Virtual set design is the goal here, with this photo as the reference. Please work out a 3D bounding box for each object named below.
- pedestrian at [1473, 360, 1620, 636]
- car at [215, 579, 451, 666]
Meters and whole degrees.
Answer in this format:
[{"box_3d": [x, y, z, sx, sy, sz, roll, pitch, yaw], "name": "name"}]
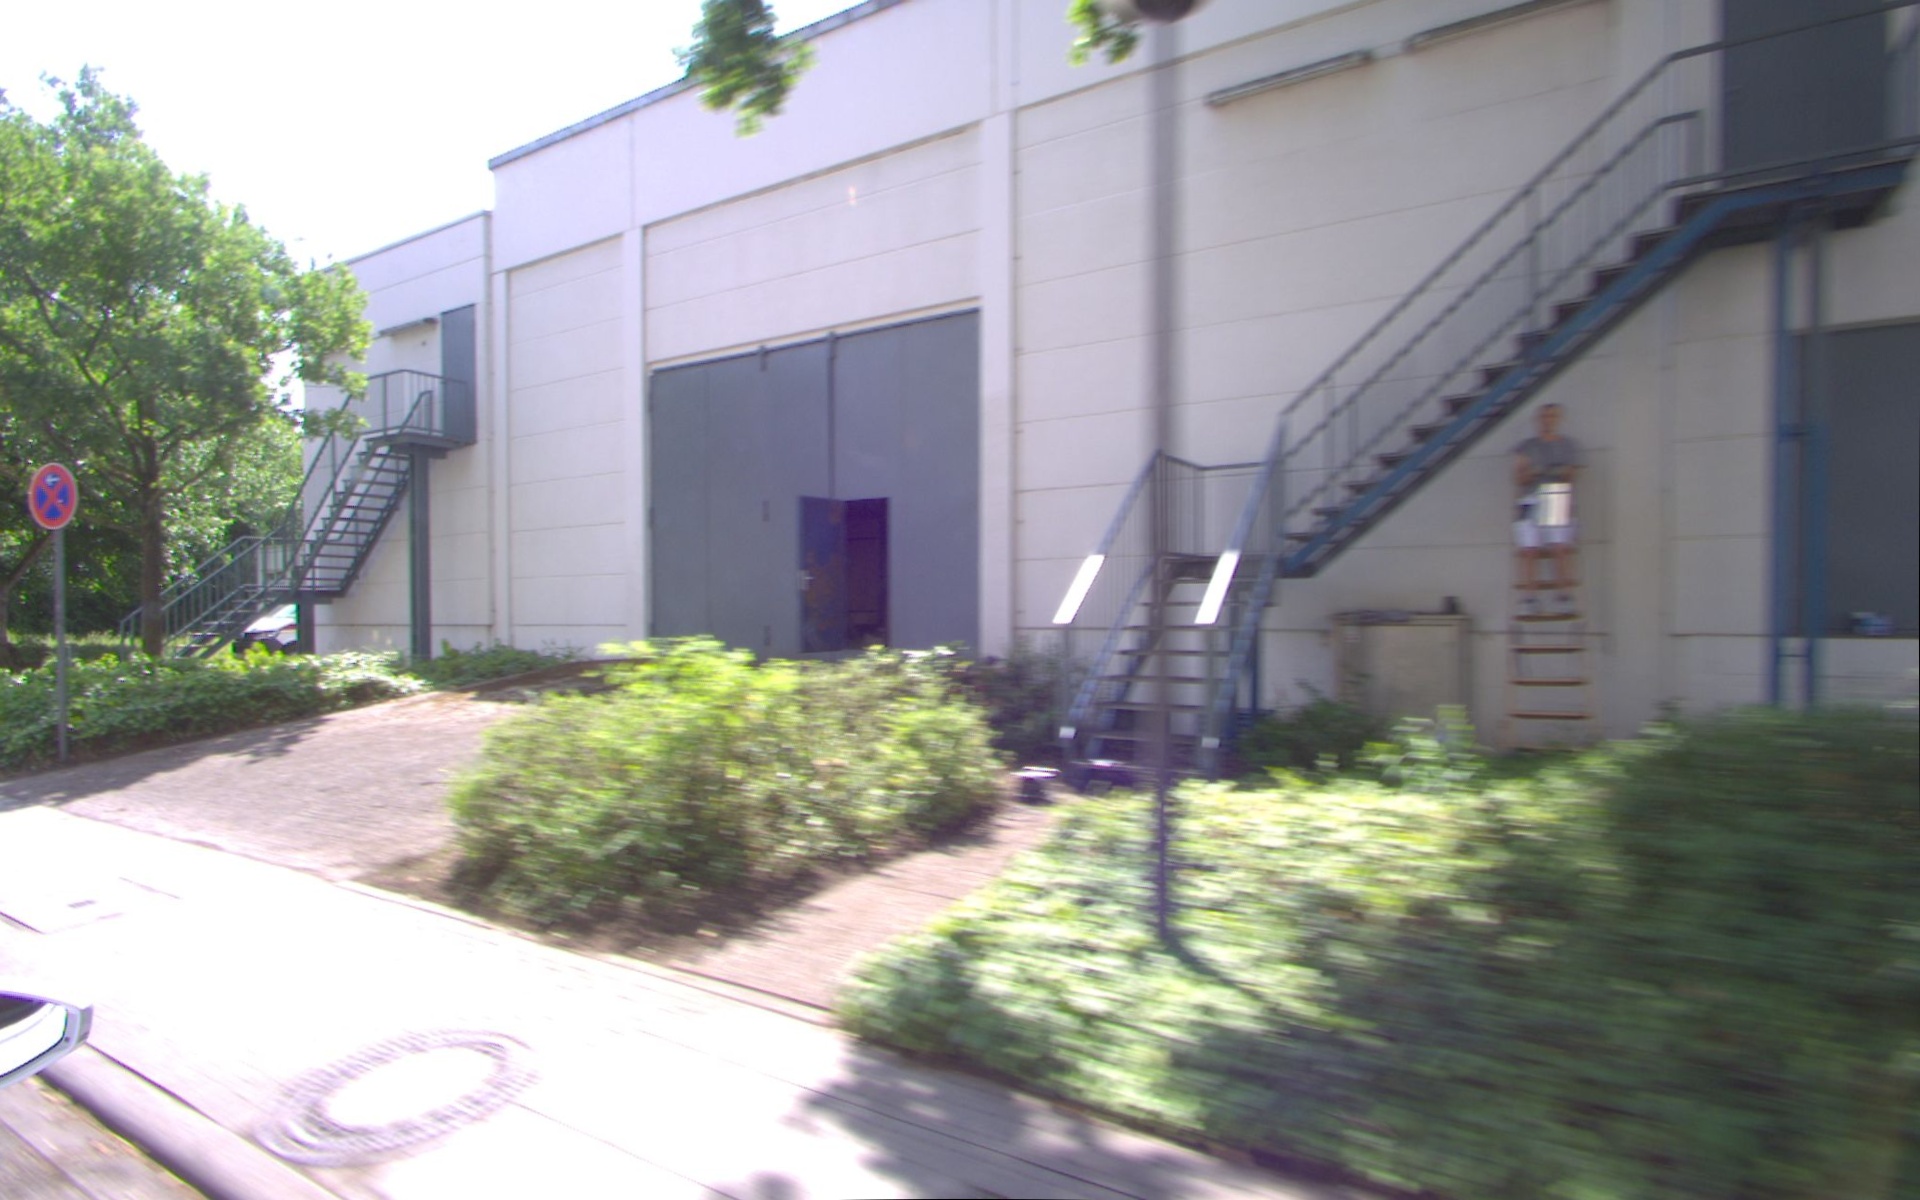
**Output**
[{"box_3d": [4.743, -0.754, 8.084, 0.937, 2.040, 0.924, 0, 1, 36], "name": "pedestrian"}, {"box_3d": [-16.175, 0.549, 26.122, 2.033, 2.040, 4.814, 0, 0, 33], "name": "car"}]
